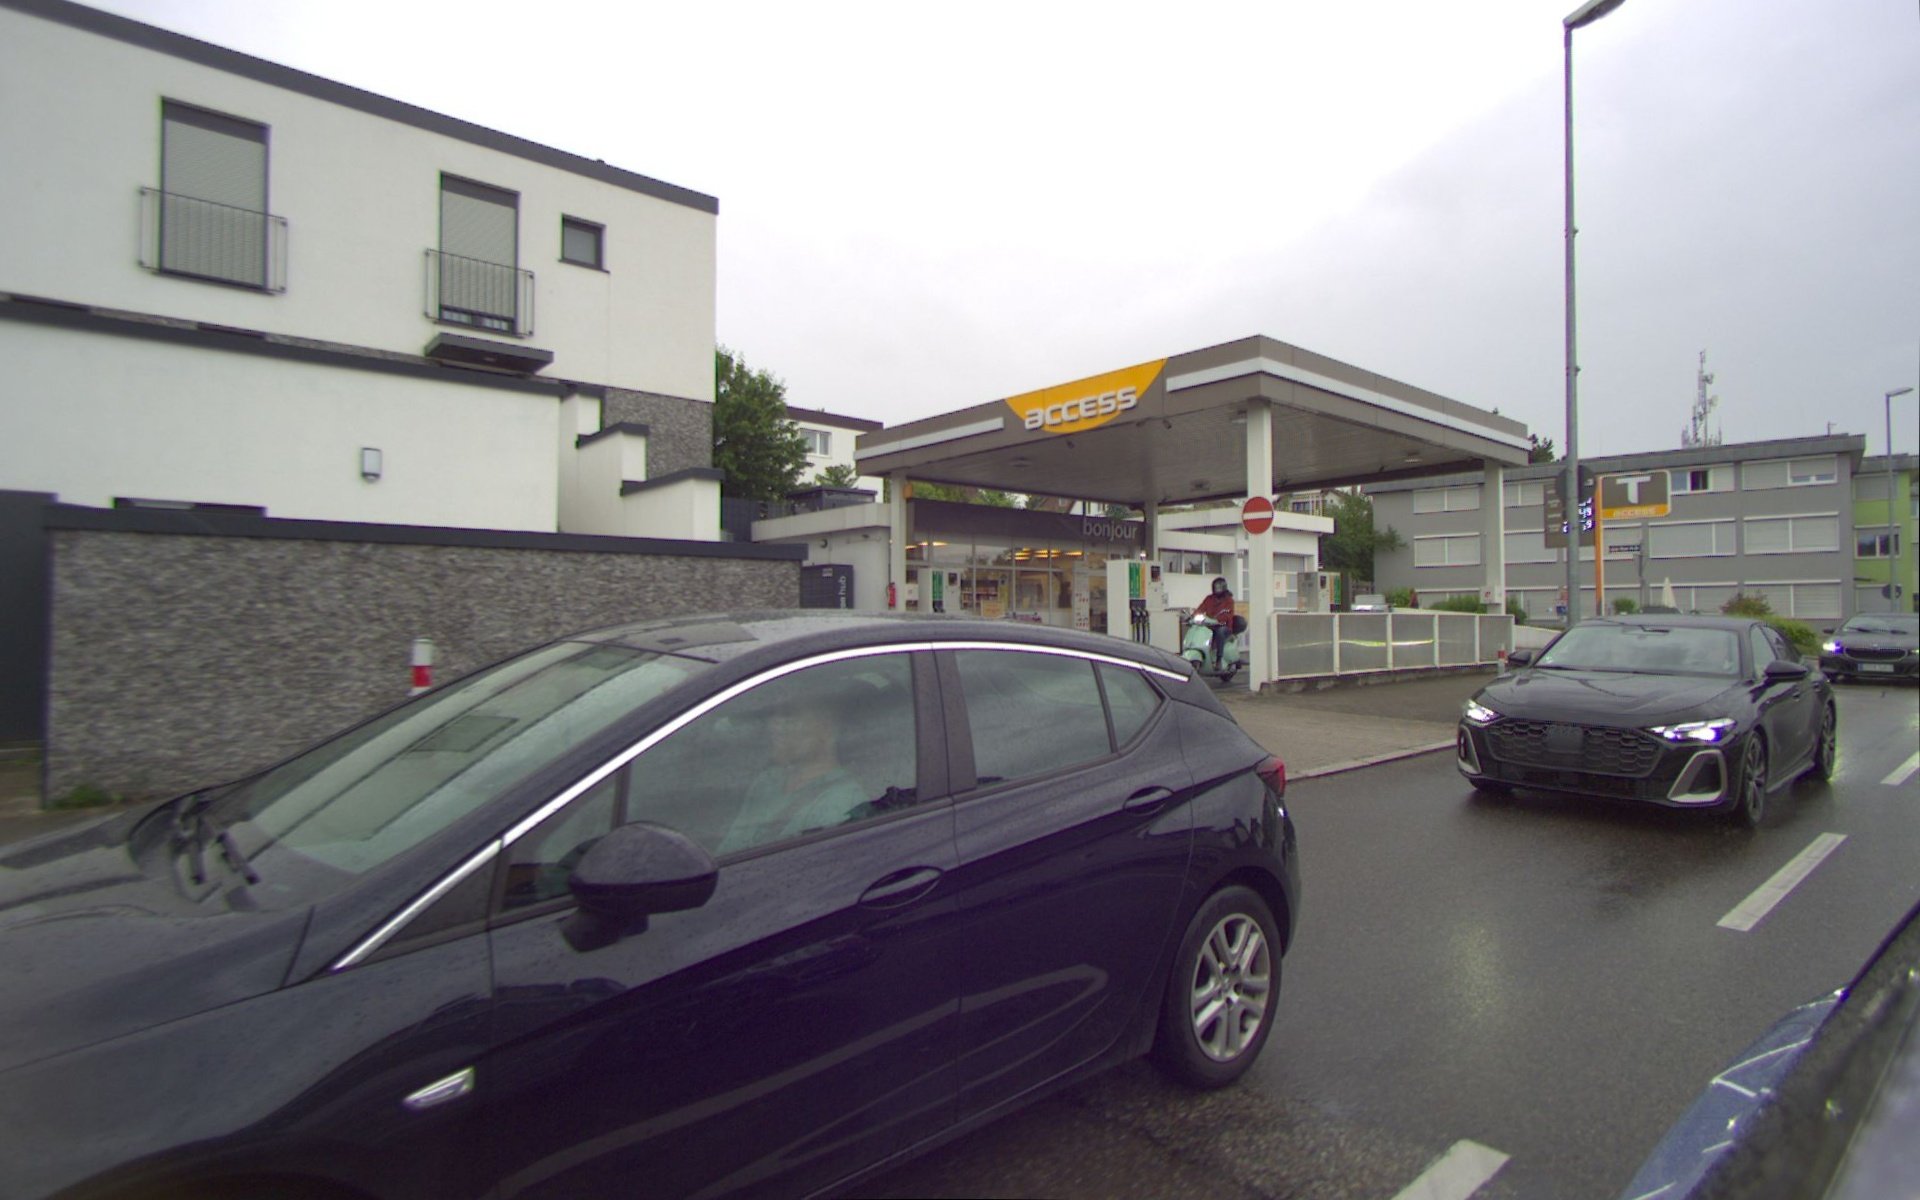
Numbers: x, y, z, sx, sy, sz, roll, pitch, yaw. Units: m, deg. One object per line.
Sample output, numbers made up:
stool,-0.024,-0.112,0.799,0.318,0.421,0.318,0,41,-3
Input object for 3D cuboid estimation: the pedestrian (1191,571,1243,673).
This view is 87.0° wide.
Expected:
pedestrian,4.322,0.365,17.016,0.575,1.677,0.611,0,-1,-40

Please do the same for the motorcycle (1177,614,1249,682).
motorcycle,4.230,0.779,16.877,1.366,1.069,0.463,0,-1,-41

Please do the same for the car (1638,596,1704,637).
car,29.902,0.666,42.512,1.809,1.546,3.940,4,3,41

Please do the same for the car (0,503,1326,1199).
car,-0.850,0.643,2.747,3.928,1.468,1.759,2,-2,-40

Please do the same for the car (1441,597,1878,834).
car,5.995,0.709,8.425,4.655,1.442,1.869,0,-1,-41

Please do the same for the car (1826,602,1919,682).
car,19.699,0.808,21.111,3.929,1.538,1.871,0,-1,-40

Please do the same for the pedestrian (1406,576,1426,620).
pedestrian,21.266,-0.080,47.212,0.715,2.039,0.605,-1,-1,42
